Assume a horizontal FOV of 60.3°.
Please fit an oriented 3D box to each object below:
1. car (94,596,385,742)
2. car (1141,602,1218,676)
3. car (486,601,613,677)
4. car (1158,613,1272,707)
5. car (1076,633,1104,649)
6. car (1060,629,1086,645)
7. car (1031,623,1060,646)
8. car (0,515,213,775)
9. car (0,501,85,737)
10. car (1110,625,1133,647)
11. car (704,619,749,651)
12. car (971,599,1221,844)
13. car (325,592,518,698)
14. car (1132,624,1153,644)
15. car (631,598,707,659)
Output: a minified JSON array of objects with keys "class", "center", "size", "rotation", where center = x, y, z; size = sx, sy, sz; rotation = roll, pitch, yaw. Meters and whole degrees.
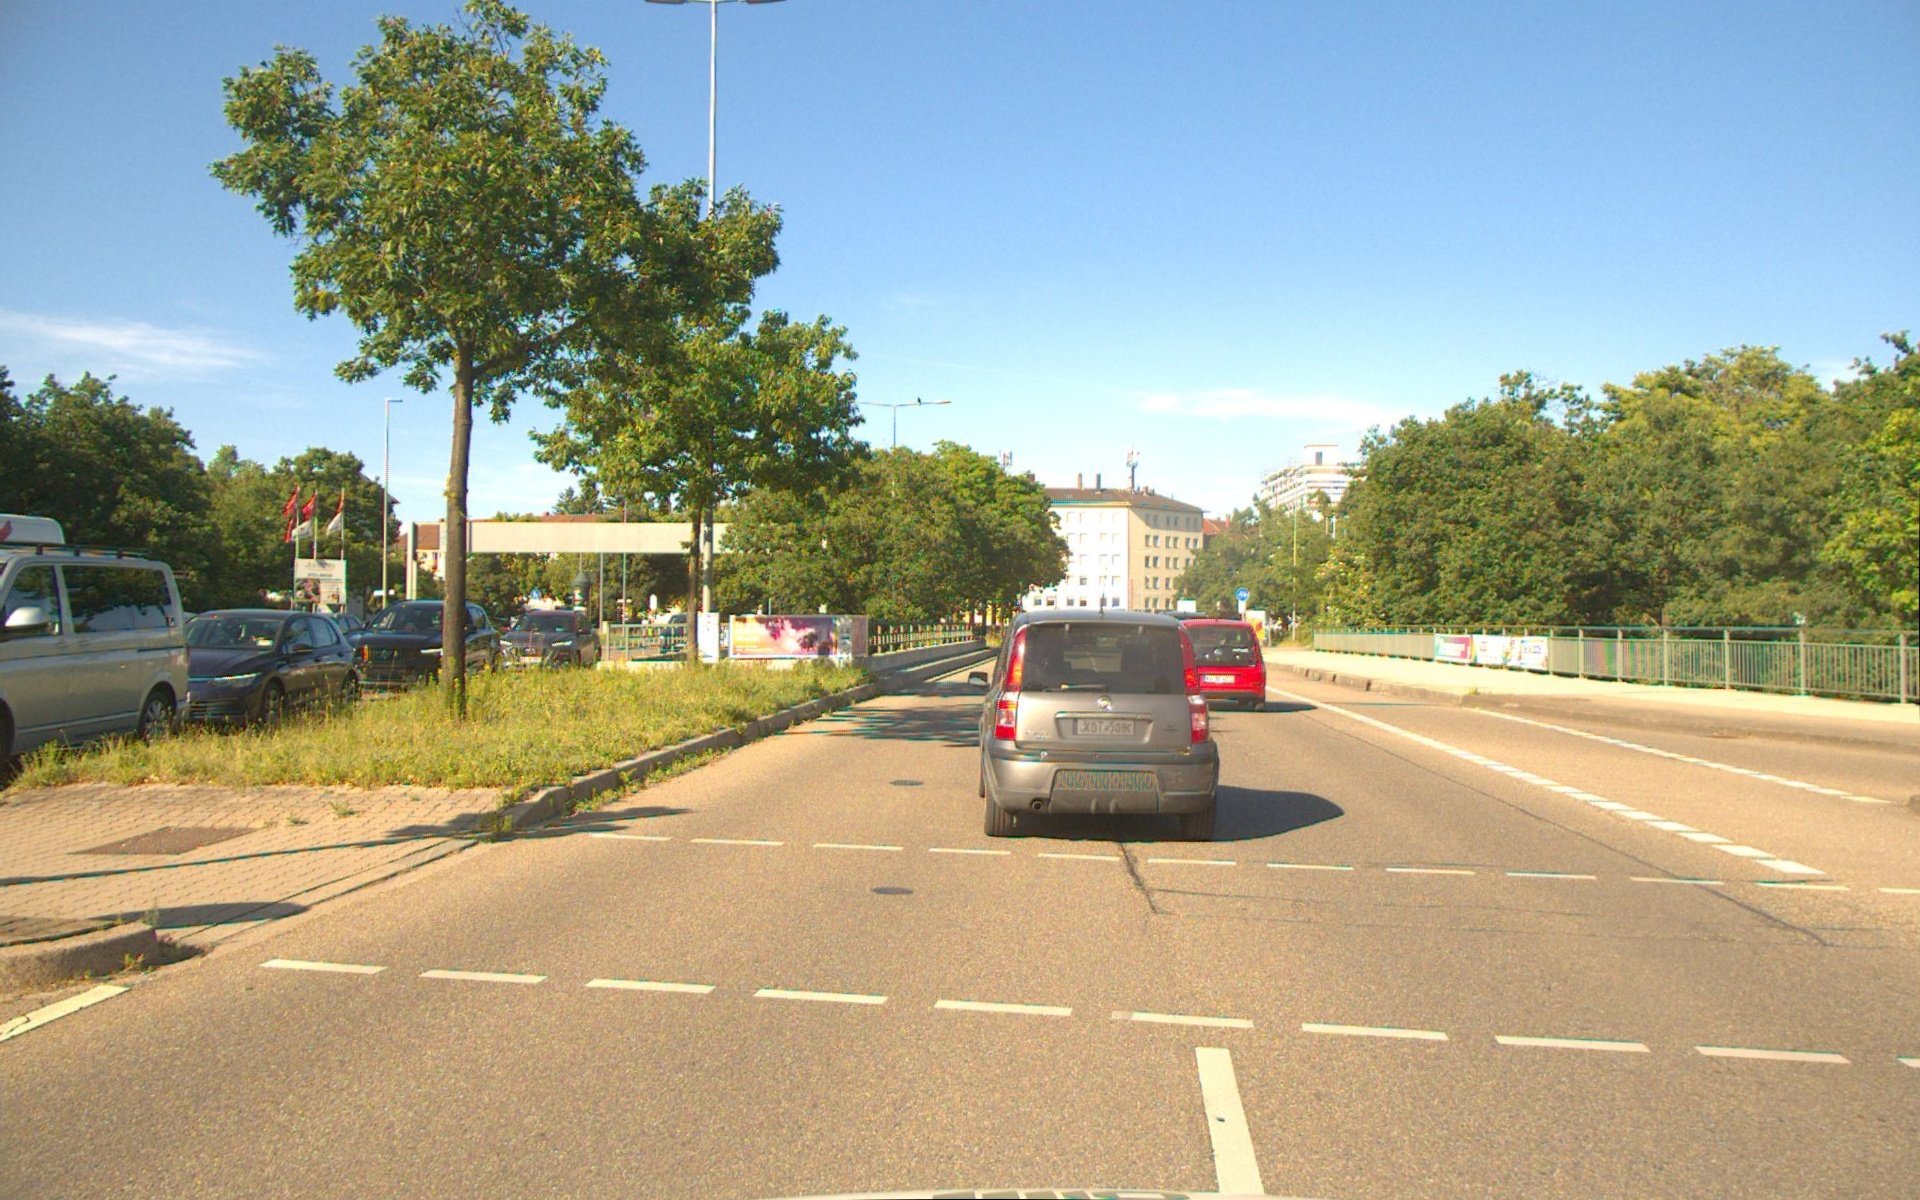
[{"class":"car","center":[-9.022,0.817,21.180],"size":[1.898,1.651,4.503],"rotation":[1,-1,-3]},{"class":"car","center":[5.930,1.080,45.060],"size":[1.904,1.872,4.155],"rotation":[2,-2,6]},{"class":"car","center":[-9.486,0.879,38.564],"size":[1.897,1.651,4.504],"rotation":[1,-1,-1]},{"class":"car","center":[4.308,0.980,28.382],"size":[1.583,1.488,3.752],"rotation":[1,0,3]},{"class":"car","center":[13.424,4.243,171.084],"size":[1.905,1.555,4.098],"rotation":[0,-1,19]},{"class":"car","center":[11.148,3.606,162.920],"size":[1.904,1.555,4.100],"rotation":[0,-1,14]},{"class":"car","center":[5.949,2.375,114.635],"size":[1.904,1.555,4.099],"rotation":[0,-1,5]},{"class":"car","center":[-8.552,0.364,14.531],"size":[1.898,2.043,4.928],"rotation":[1,-1,-3]},{"class":"car","center":[-11.596,0.193,17.267],"size":[1.898,2.621,6.085],"rotation":[1,-1,-3]},{"class":"car","center":[15.402,3.437,157.511],"size":[1.904,1.872,4.155],"rotation":[-3,-2,8]},{"class":"car","center":[-11.451,1.723,81.279],"size":[1.708,1.526,3.999],"rotation":[0,-1,-1]},{"class":"car","center":[0.984,0.787,12.503],"size":[1.583,1.542,3.821],"rotation":[1,0,3]},{"class":"car","center":[-9.052,0.736,28.217],"size":[1.897,1.651,4.504],"rotation":[1,-1,-1]},{"class":"car","center":[18.448,3.467,166.941],"size":[1.904,1.872,4.155],"rotation":[-3,-2,8]},{"class":"car","center":[-10.124,0.988,57.822],"size":[1.953,2.049,4.333],"rotation":[0,-1,-1]}]
